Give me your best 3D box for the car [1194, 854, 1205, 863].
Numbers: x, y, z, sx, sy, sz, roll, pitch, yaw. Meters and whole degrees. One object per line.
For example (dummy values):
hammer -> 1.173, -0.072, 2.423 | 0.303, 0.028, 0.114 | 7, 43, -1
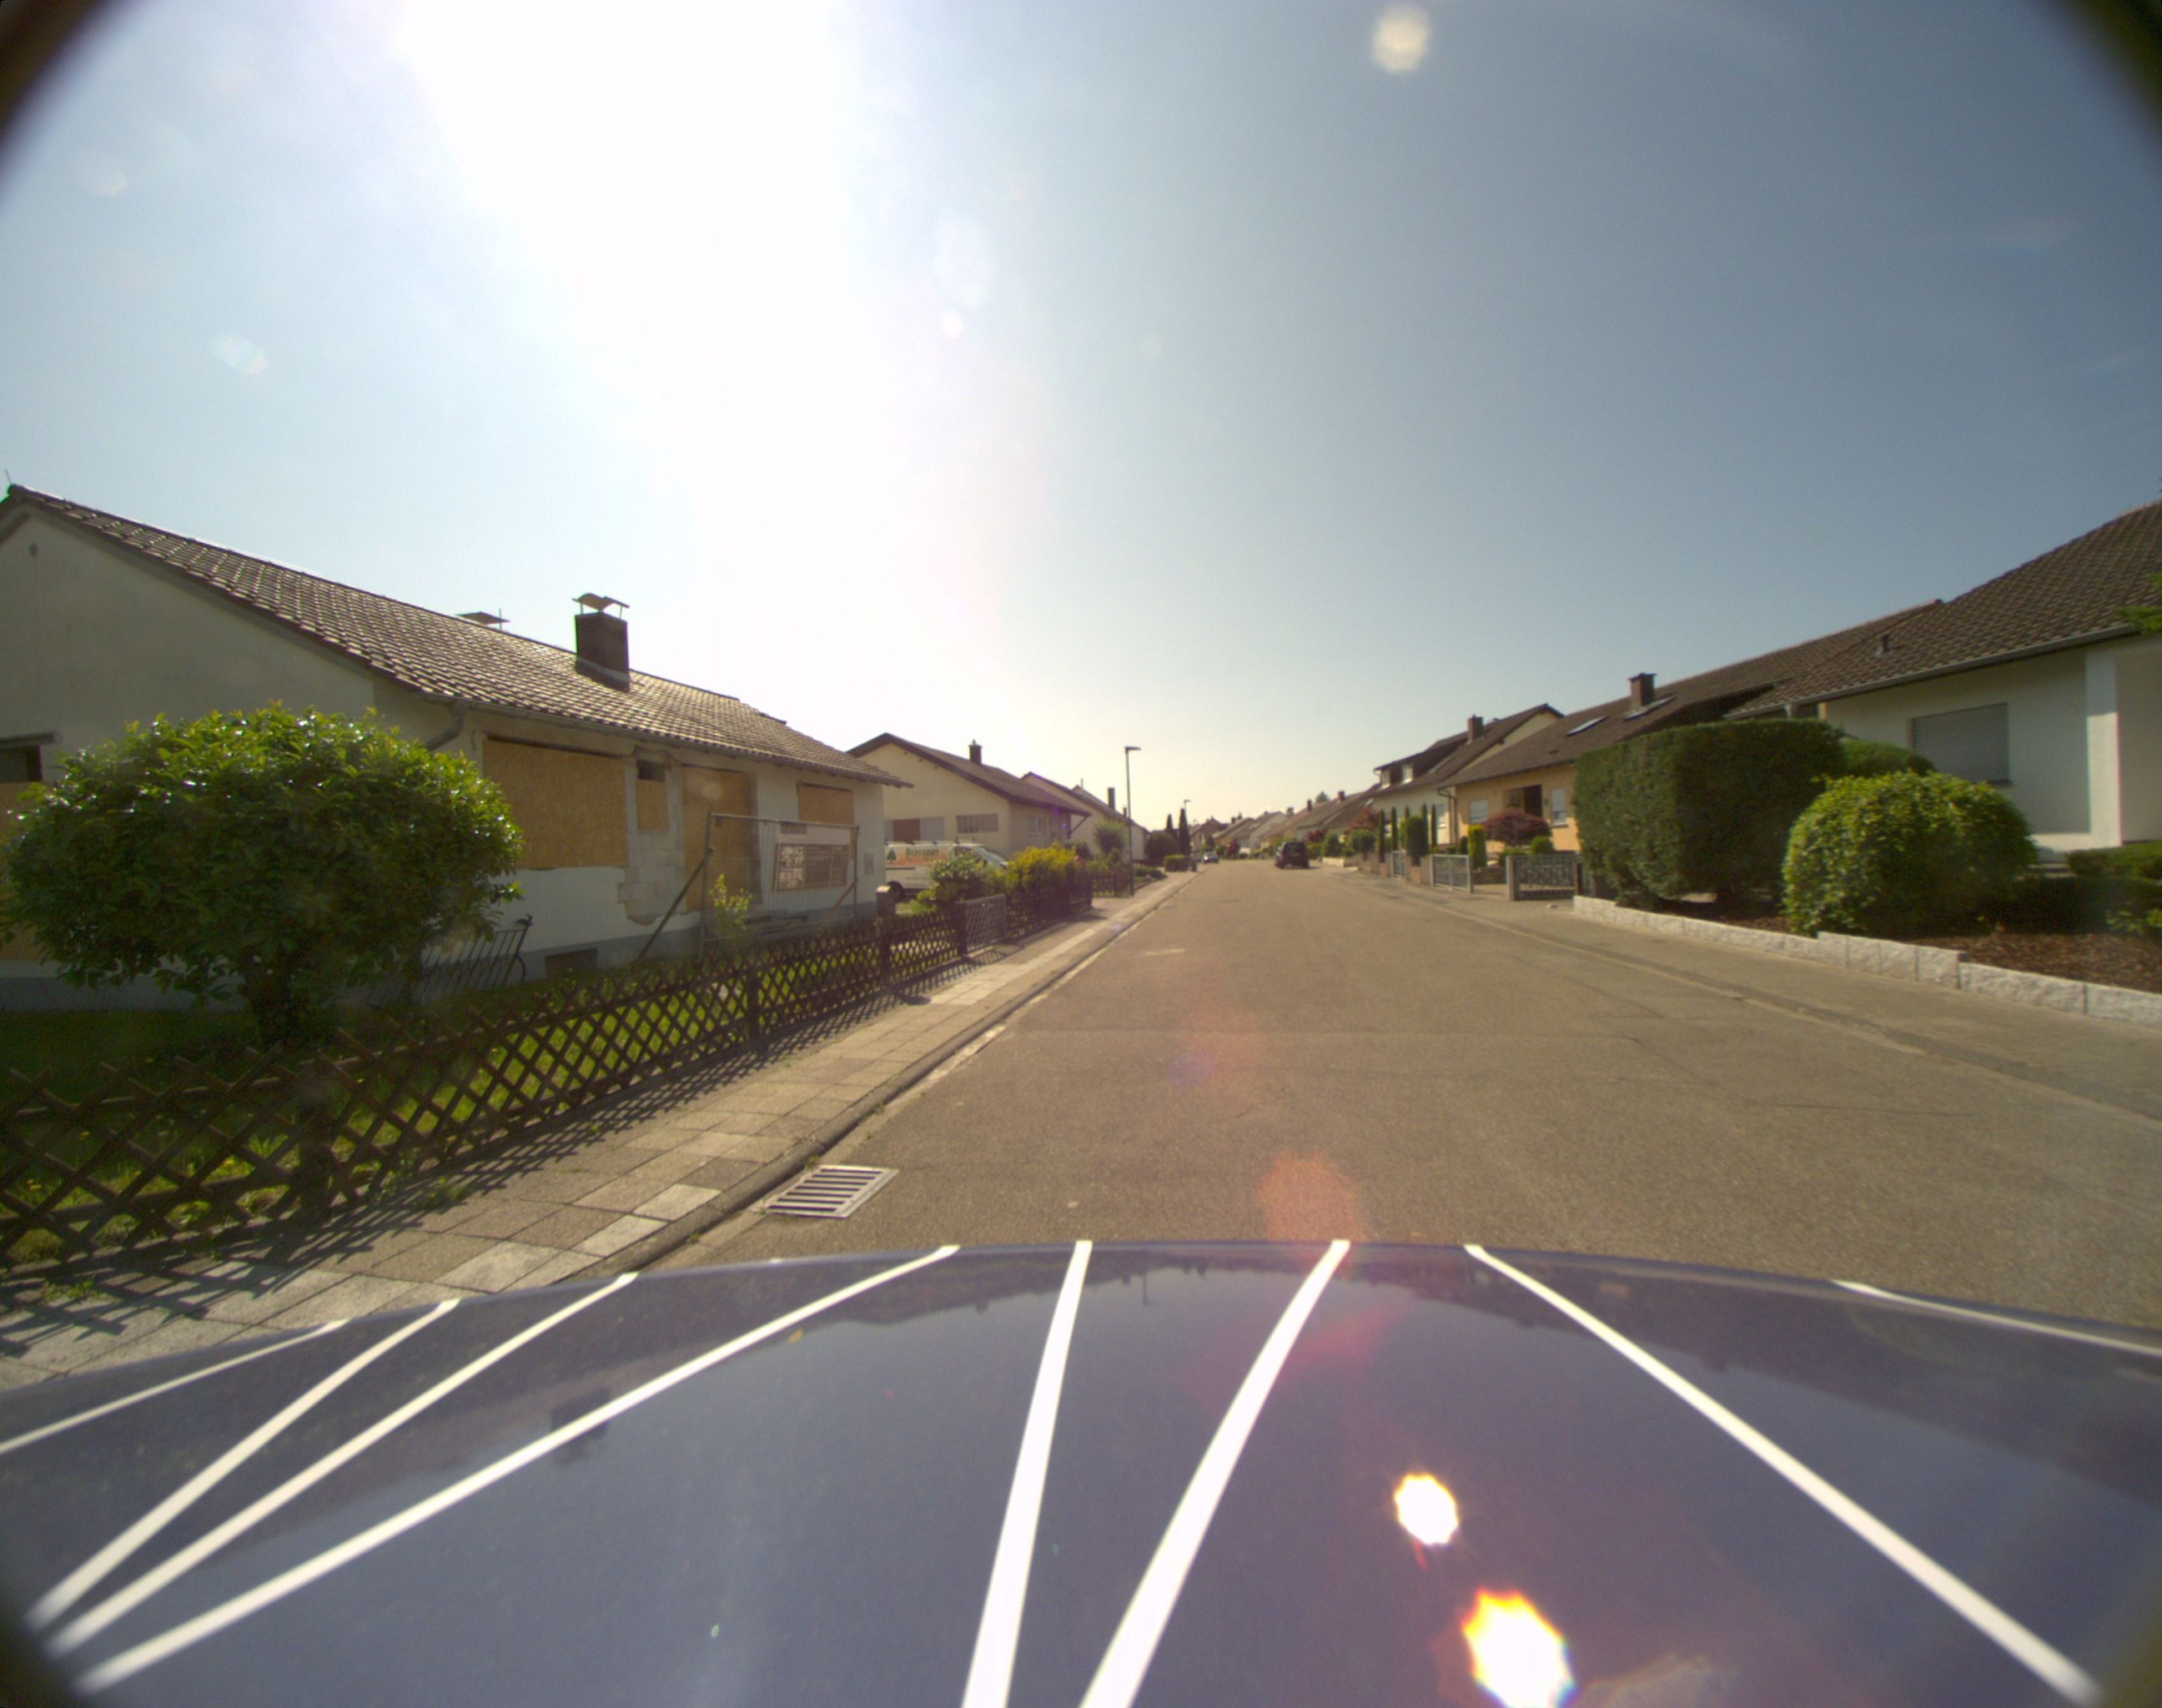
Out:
car -> 18.391, 0.695, 118.130 | 1.458, 1.270, 3.105 | -2, 0, 7

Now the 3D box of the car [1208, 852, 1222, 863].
car -> 16.724, 0.463, 95.154 | 1.458, 1.270, 3.104 | -2, 0, 6

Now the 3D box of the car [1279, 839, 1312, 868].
car -> 14.055, -0.080, 49.934 | 1.767, 1.767, 3.655 | -2, 0, 12

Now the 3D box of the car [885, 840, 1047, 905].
car -> -3.838, 0.619, 25.553 | 5.003, 2.002, 1.869 | -2, 1, 13

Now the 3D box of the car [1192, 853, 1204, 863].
car -> 16.564, 0.535, 108.045 | 1.458, 1.270, 3.104 | -2, 0, 5
